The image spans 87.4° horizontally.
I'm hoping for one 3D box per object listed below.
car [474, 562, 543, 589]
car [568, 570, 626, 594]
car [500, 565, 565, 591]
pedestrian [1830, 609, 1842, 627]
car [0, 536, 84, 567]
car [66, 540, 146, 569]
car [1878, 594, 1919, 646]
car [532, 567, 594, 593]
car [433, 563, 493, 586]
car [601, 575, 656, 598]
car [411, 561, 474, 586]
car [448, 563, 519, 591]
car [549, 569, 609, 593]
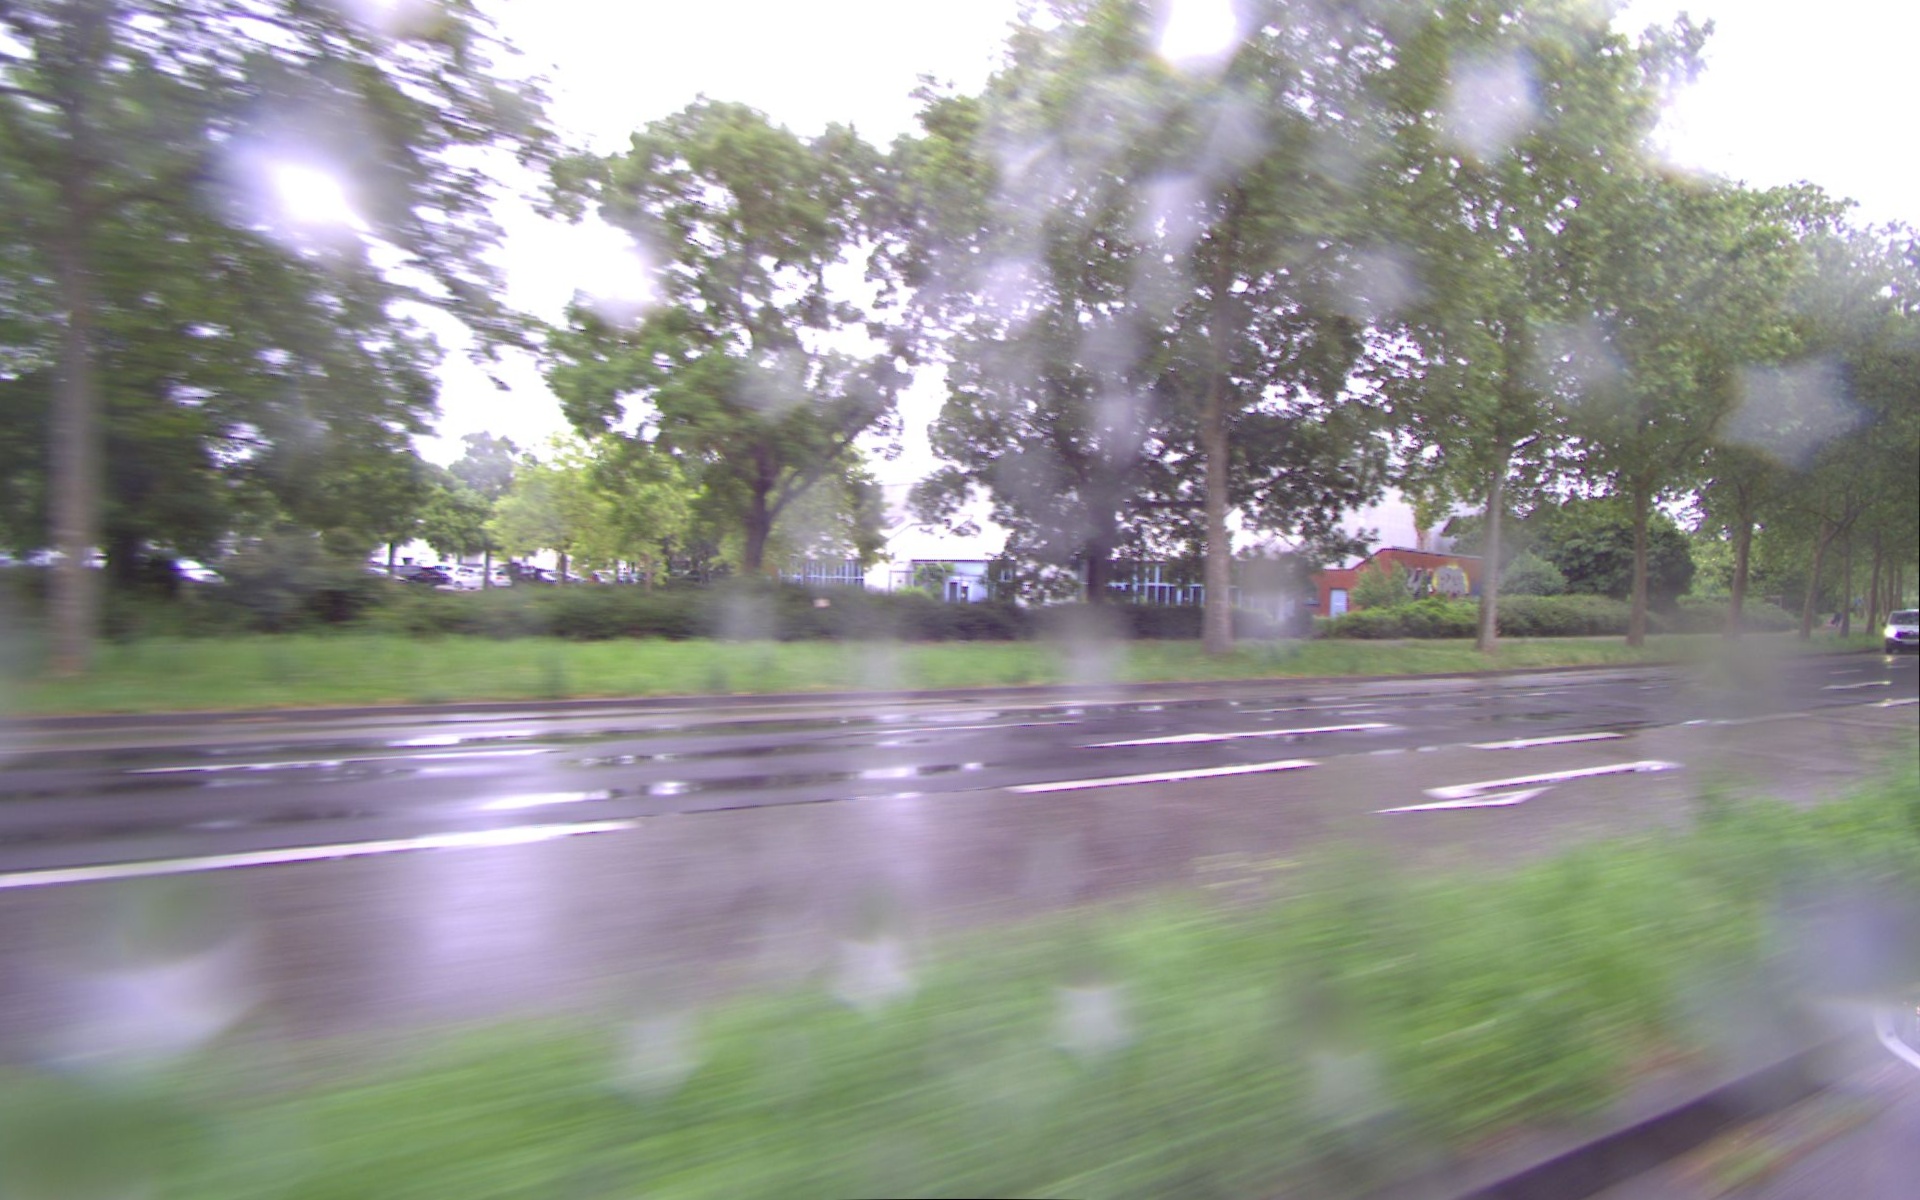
[{"bbox_3d":[-35.018,-1.880,77.997,4.408,1.927,2.001,2,1,4],"label":"car"},{"bbox_3d":[-32.535,-1.618,90.189,4.408,1.927,2.001,2,1,4],"label":"car"},{"bbox_3d":[-34.600,-1.765,81.376,4.408,1.927,2.001,2,1,4],"label":"car"},{"bbox_3d":[84.973,1.738,97.441,0.821,1.696,0.895,2,1,40],"label":"pedestrian"},{"bbox_3d":[-64.058,-3.399,70.005,4.408,1.927,2.001,2,1,4],"label":"car"},{"bbox_3d":[-63.828,-3.372,75.111,4.408,1.927,2.001,2,1,4],"label":"car"},{"bbox_3d":[43.825,0.938,46.112,5.395,2.256,2.011,1,1,-43],"label":"car"},{"bbox_3d":[-33.464,-1.691,84.730,4.407,1.927,2.114,2,1,8],"label":"car"},{"bbox_3d":[-44.424,-2.276,89.821,4.408,1.927,2.001,2,1,4],"label":"car"},{"bbox_3d":[-31.307,-1.298,94.846,4.408,1.927,2.001,2,1,4],"label":"car"},{"bbox_3d":[-44.793,-2.302,87.019,4.408,1.927,2.001,2,1,4],"label":"car"},{"bbox_3d":[-35.778,-1.703,75.480,4.408,1.927,2.001,2,1,4],"label":"car"},{"bbox_3d":[-33.224,-1.666,87.747,4.408,1.927,2.001,2,1,4],"label":"car"}]
